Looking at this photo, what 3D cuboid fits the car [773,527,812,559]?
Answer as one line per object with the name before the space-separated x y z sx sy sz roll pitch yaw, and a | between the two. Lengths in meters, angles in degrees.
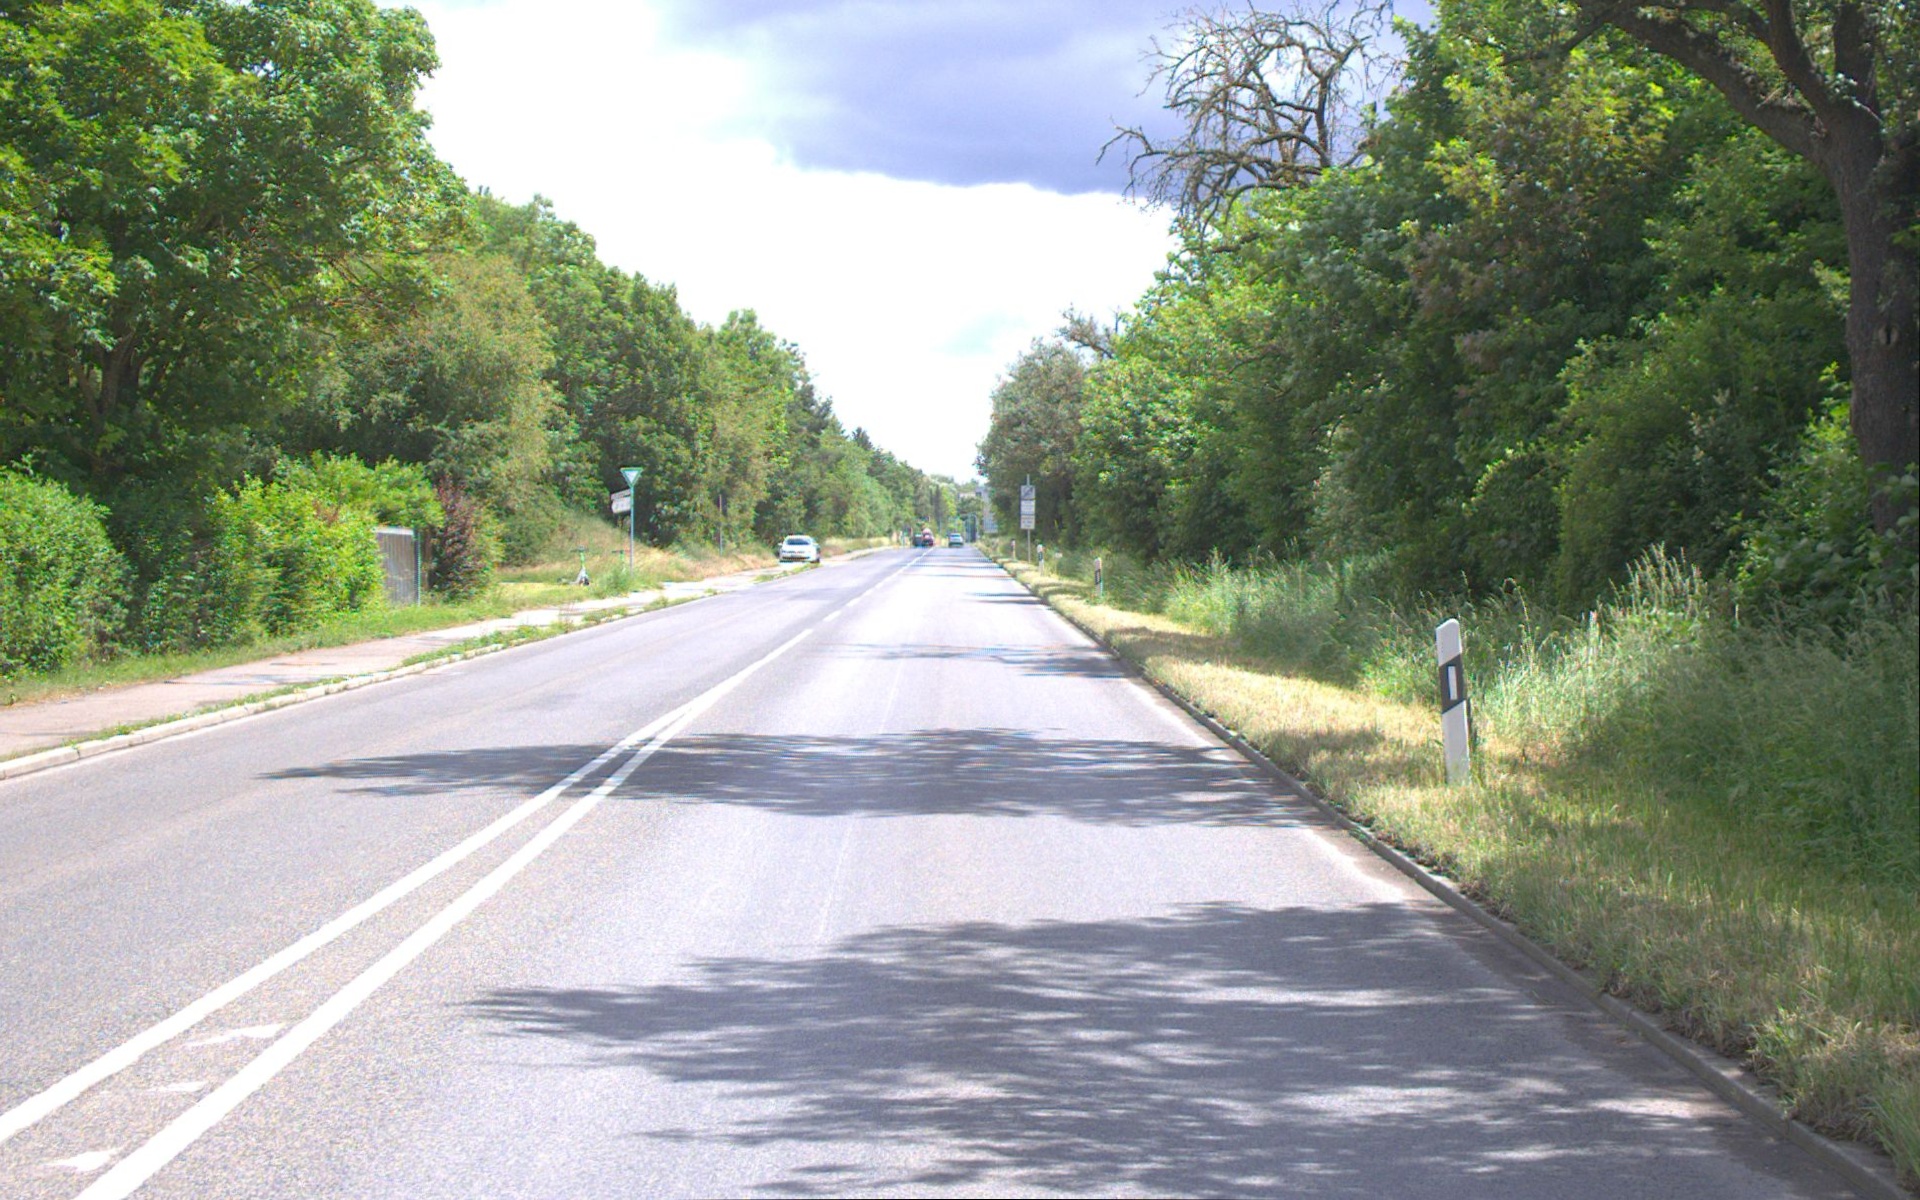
car | -8.607 -2.906 176.551 1.798 1.538 3.955 0 0 0
